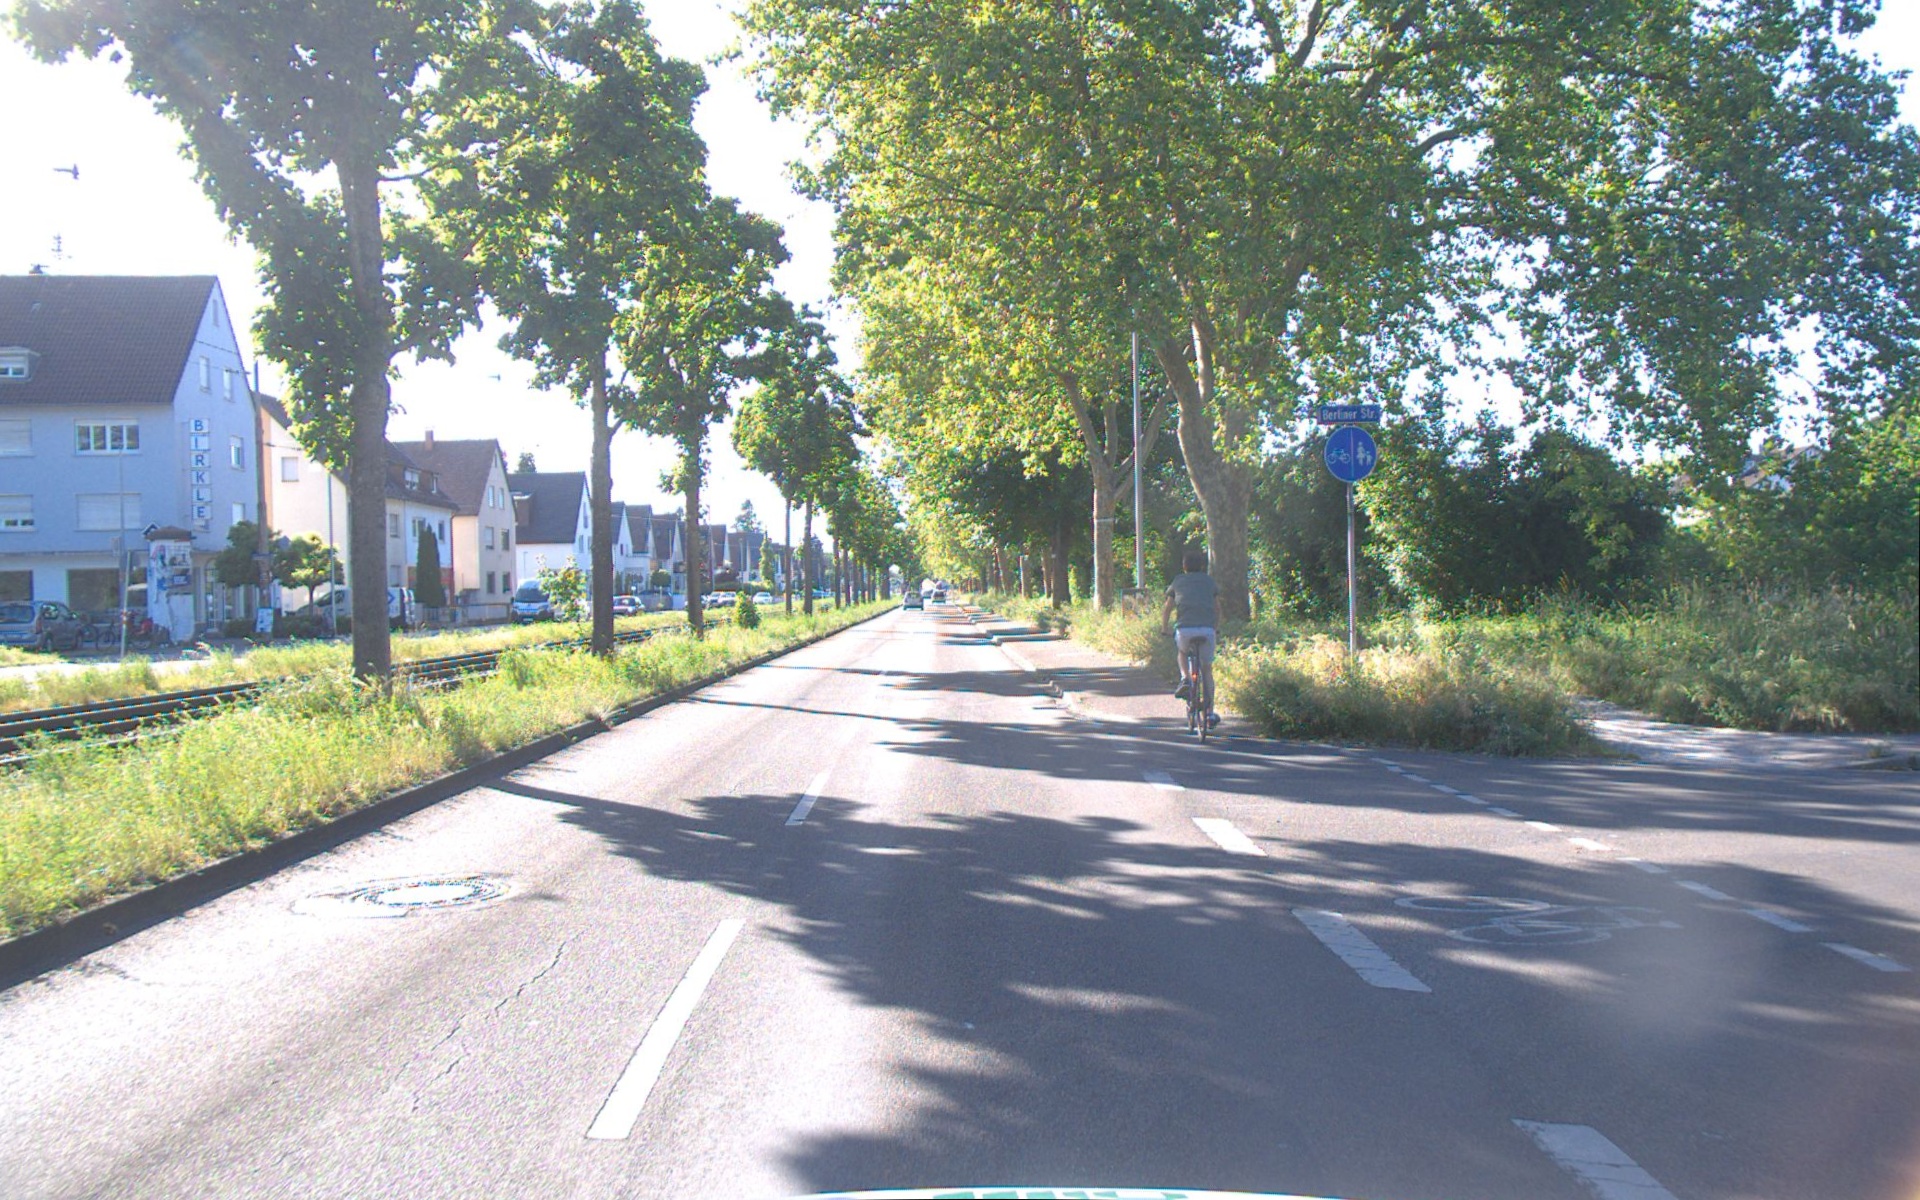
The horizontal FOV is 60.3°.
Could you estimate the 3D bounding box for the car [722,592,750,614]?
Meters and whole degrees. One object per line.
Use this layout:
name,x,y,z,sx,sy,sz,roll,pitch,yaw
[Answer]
car,-19.800,0.296,146.545,1.876,1.916,4.523,0,0,0

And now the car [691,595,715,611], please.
car,-22.493,0.255,144.937,1.463,1.349,4.000,0,0,1

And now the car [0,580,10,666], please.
car,-31.671,0.696,47.781,6.928,2.551,2.328,0,0,-5

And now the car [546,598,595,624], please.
car,-21.963,0.612,93.429,1.787,1.437,4.656,0,0,-1

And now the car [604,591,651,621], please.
car,-16.925,0.308,84.334,1.642,1.434,3.999,-2,1,-1

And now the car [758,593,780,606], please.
car,-23.171,-0.029,201.037,1.952,1.627,4.733,0,0,3

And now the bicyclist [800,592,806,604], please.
bicyclist,-21.797,-0.328,229.362,0.674,1.681,0.881,0,0,-1

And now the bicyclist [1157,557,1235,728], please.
bicyclist,2.368,0.407,16.643,0.601,1.657,0.909,-2,0,-1

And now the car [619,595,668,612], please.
car,-28.330,0.283,148.261,4.130,1.489,1.936,0,0,-5

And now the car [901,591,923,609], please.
car,-3.719,0.006,129.248,1.703,1.425,3.276,0,0,-1

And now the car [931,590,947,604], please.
car,-2.415,-0.348,191.705,1.725,1.539,3.276,0,0,0

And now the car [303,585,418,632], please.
car,-26.817,0.367,74.092,4.535,1.979,1.994,-1,0,-12

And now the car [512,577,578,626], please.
car,-21.883,0.067,87.492,1.953,2.502,6.673,0,0,-1

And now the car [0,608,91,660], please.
car,-31.340,1.141,56.433,1.762,1.699,4.091,0,0,-9

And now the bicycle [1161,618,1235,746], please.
bicycle,2.379,0.792,16.659,0.431,1.173,1.823,-2,0,-1

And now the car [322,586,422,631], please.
car,-27.172,0.389,76.501,4.064,1.986,1.994,-1,0,-12
